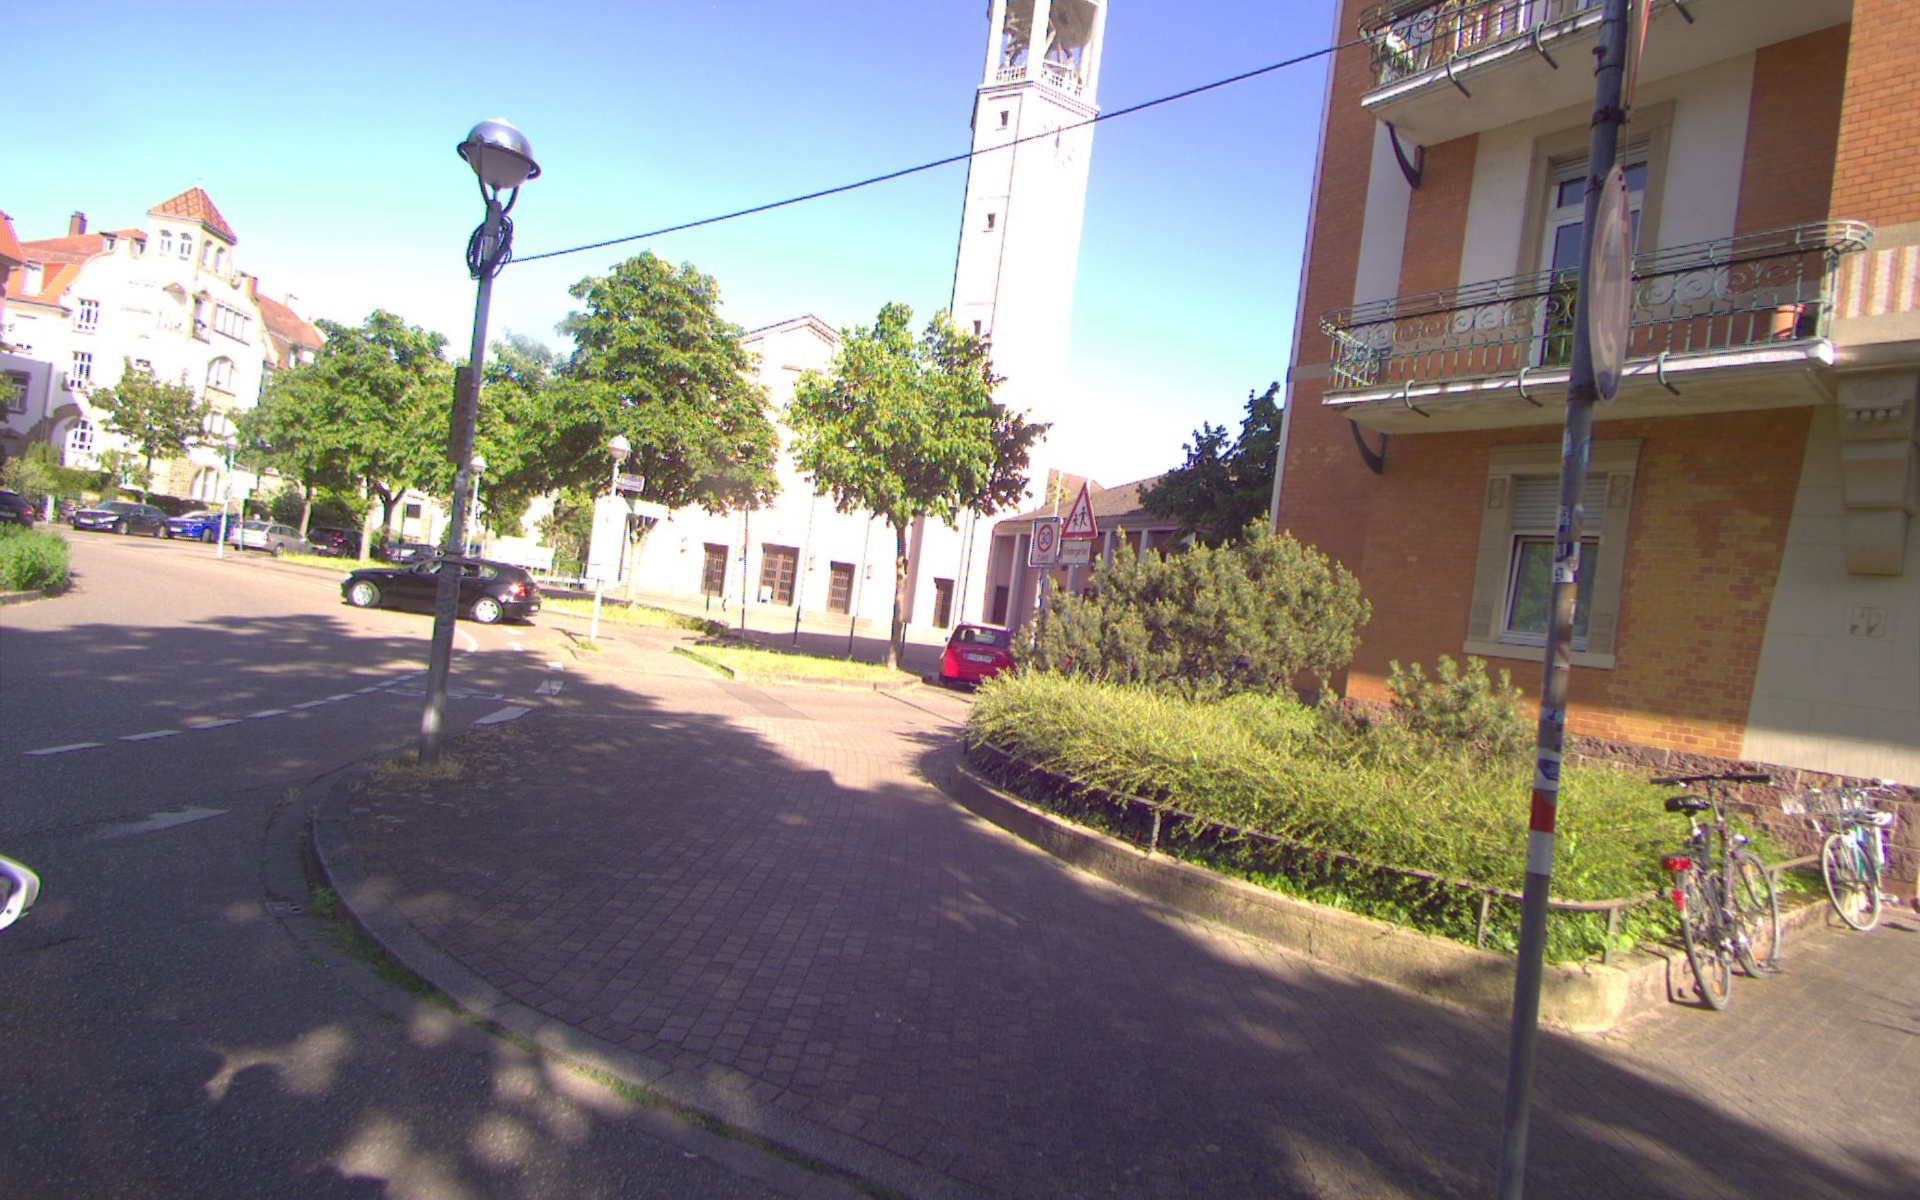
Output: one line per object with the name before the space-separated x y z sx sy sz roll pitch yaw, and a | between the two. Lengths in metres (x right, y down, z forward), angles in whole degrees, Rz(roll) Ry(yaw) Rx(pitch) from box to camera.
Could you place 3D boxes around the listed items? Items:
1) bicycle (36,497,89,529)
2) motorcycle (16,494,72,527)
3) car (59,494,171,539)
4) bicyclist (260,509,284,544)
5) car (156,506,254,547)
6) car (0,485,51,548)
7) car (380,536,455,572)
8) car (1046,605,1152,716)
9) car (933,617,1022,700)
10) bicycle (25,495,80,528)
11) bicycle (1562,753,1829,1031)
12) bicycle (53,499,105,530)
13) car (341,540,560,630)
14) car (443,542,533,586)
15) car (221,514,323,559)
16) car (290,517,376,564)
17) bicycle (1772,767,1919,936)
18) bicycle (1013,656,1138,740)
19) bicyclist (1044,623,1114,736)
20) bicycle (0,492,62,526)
bicycle | -40.781 -3.951 45.719 1.698 1.120 0.500 10 0 -8
motorcycle | -40.529 -3.935 44.510 1.700 1.120 0.500 10 0 -12
car | -37.554 -3.665 44.853 1.779 1.502 4.331 5 -1 -10
bicyclist | -36.327 -3.873 53.112 0.634 1.735 0.723 7 0 -4
car | -37.826 -3.645 50.577 1.777 1.581 4.396 5 -1 -5
car | -27.226 -2.492 27.436 3.925 1.551 1.829 8 0 18
car | -30.442 -2.559 56.643 1.777 1.491 4.339 8 -1 -1
car | 3.152 1.334 23.402 1.956 2.070 4.709 7 -1 6
car | 0.465 1.229 22.163 1.638 1.452 3.698 8 -1 4
bicycle | -40.651 -3.948 45.057 1.700 1.120 0.500 10 0 -12
bicycle | 4.029 1.456 5.440 1.930 1.135 0.680 7 0 -42
bicycle | -40.900 -3.952 46.716 1.698 1.120 0.515 10 0 -8
car | -11.571 -0.314 23.090 3.930 1.436 1.869 8 0 -6
car | -30.392 -2.310 64.855 4.700 2.024 1.807 9 -1 -9
car | -29.758 -2.705 43.682 1.780 1.432 4.332 9 -1 -9
car | -30.102 -2.827 48.461 1.780 1.748 4.332 8 -1 -9
bicycle | 6.833 1.868 7.689 1.660 1.085 0.495 7 0 -37
bicycle | 1.876 1.586 16.214 1.854 1.121 0.693 8 0 -31
bicyclist | 1.913 1.274 16.214 0.643 1.681 0.693 7 0 -30
bicycle | -40.466 -3.955 43.837 1.806 1.120 0.498 10 0 -21
